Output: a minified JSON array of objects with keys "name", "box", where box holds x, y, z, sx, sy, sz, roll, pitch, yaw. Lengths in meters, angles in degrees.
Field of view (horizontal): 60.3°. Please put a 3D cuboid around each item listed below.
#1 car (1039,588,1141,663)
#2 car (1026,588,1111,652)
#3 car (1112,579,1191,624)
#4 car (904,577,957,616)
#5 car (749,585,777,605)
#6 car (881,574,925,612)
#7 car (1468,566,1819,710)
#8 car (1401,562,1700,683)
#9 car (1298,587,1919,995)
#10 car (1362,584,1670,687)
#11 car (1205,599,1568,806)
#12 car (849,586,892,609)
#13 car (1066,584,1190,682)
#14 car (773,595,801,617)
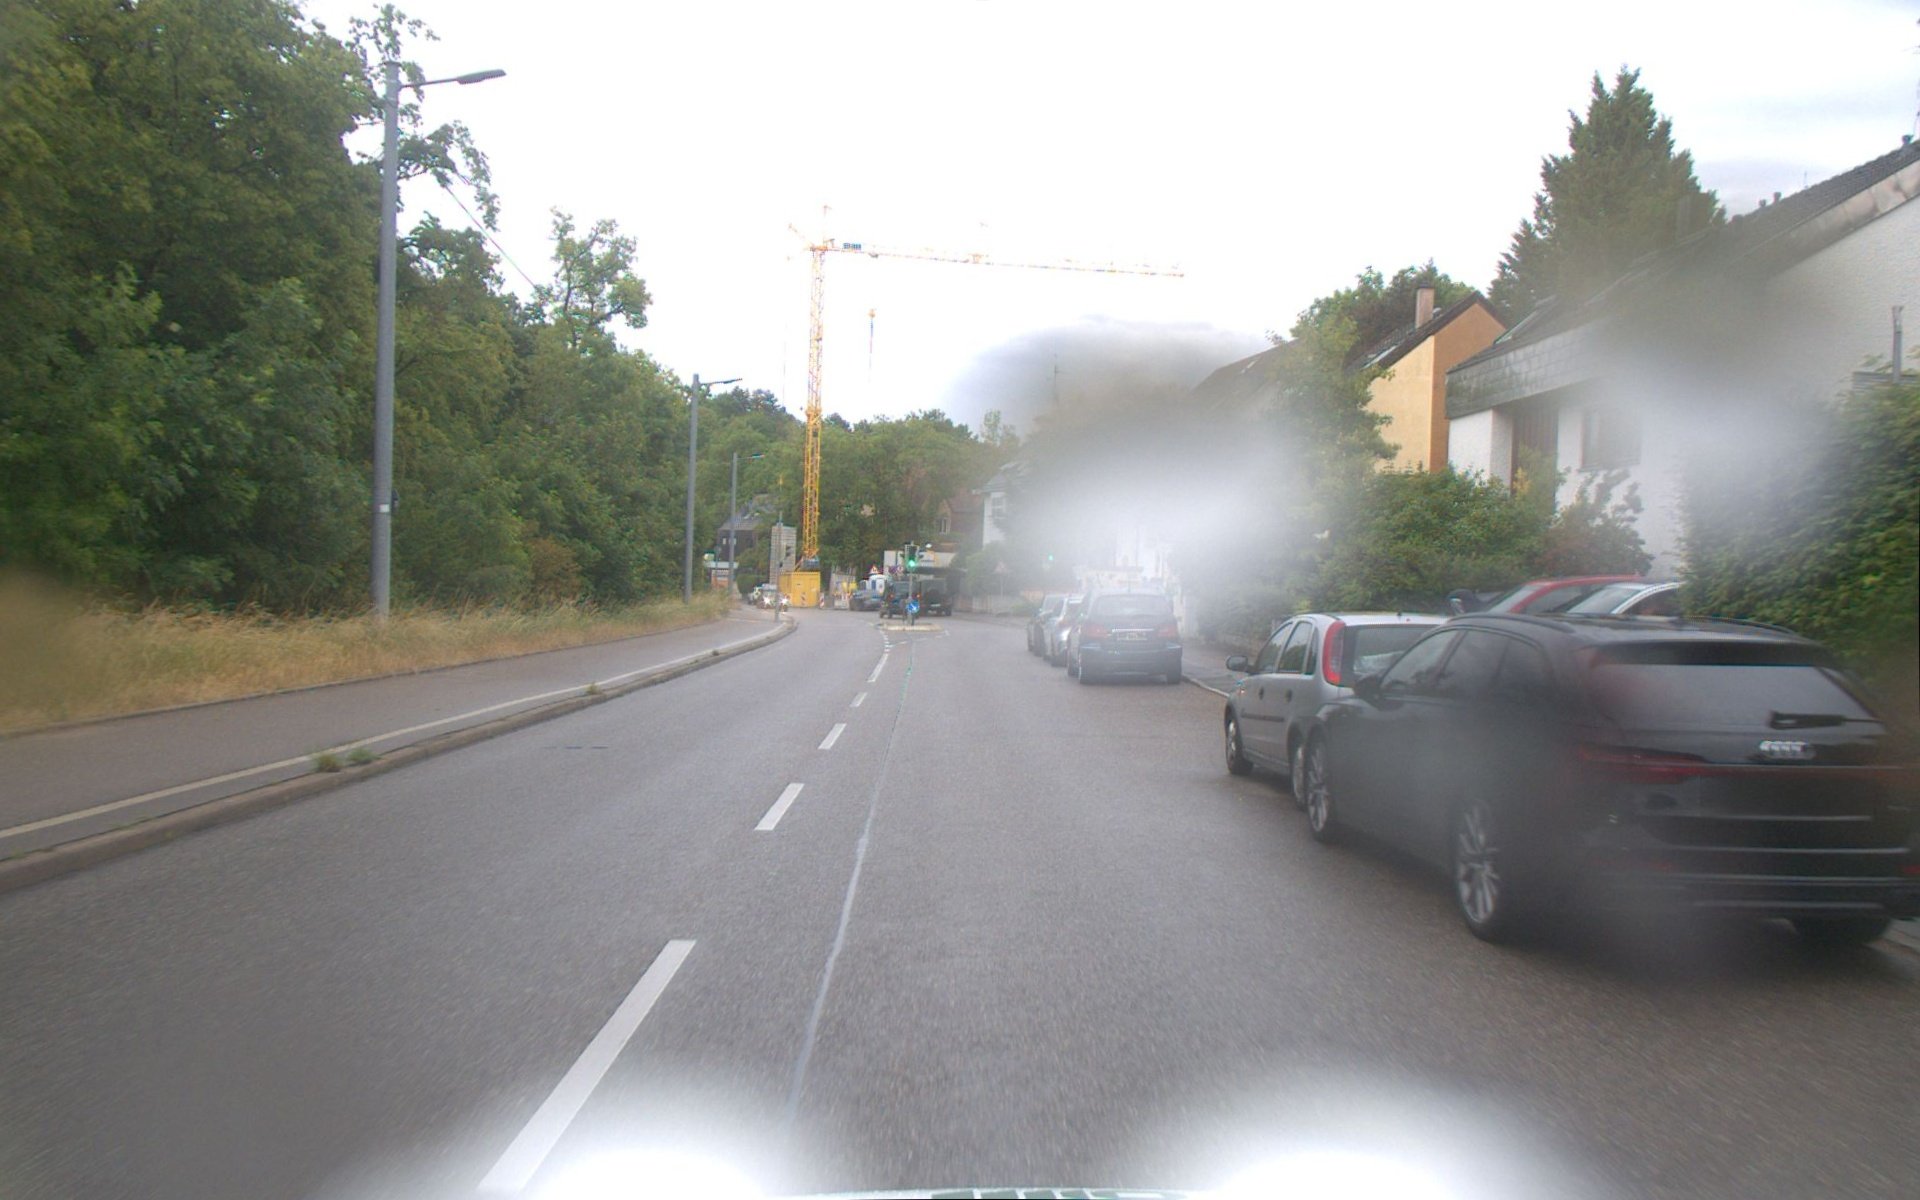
[{"name":"car","box":[2.767,0.549,35.972,1.756,1.513,4.494,1,-1,-1]},{"name":"car","box":[2.621,0.484,40.804,1.716,1.468,4.599,1,0,-1]},{"name":"car","box":[7.561,0.072,65.587,1.897,1.624,4.331,3,-1,-10]},{"name":"car","box":[-1.654,-0.210,90.681,1.959,2.049,4.941,-1,0,-12]},{"name":"car","box":[-18.441,-0.485,154.747,1.718,1.735,4.479,-1,1,-18]},{"name":"car","box":[-2.936,-0.349,84.684,1.895,1.781,3.994,3,-1,-6]},{"name":"car","box":[8.454,0.441,20.657,3.585,1.563,1.827,-2,1,-4]},{"name":"car","box":[8.368,0.310,23.654,3.584,1.593,1.882,-1,0,-1]},{"name":"car","box":[3.207,0.772,8.772,1.793,1.574,4.628,1,-1,-1]},{"name":"car","box":[8.573,0.546,25.725,4.159,1.486,1.882,1,-1,-1]},{"name":"car","box":[3.275,0.734,13.541,1.776,1.422,4.101,1,-1,-2]},{"name":"car","box":[-6.192,-0.201,113.841,1.901,1.447,4.816,2,0,-16]},{"name":"car","box":[2.905,0.523,29.427,1.695,1.595,4.521,0,1,-1]},{"name":"car","box":[-11.637,0.389,111.499,1.709,1.485,4.410,0,0,-4]}]
